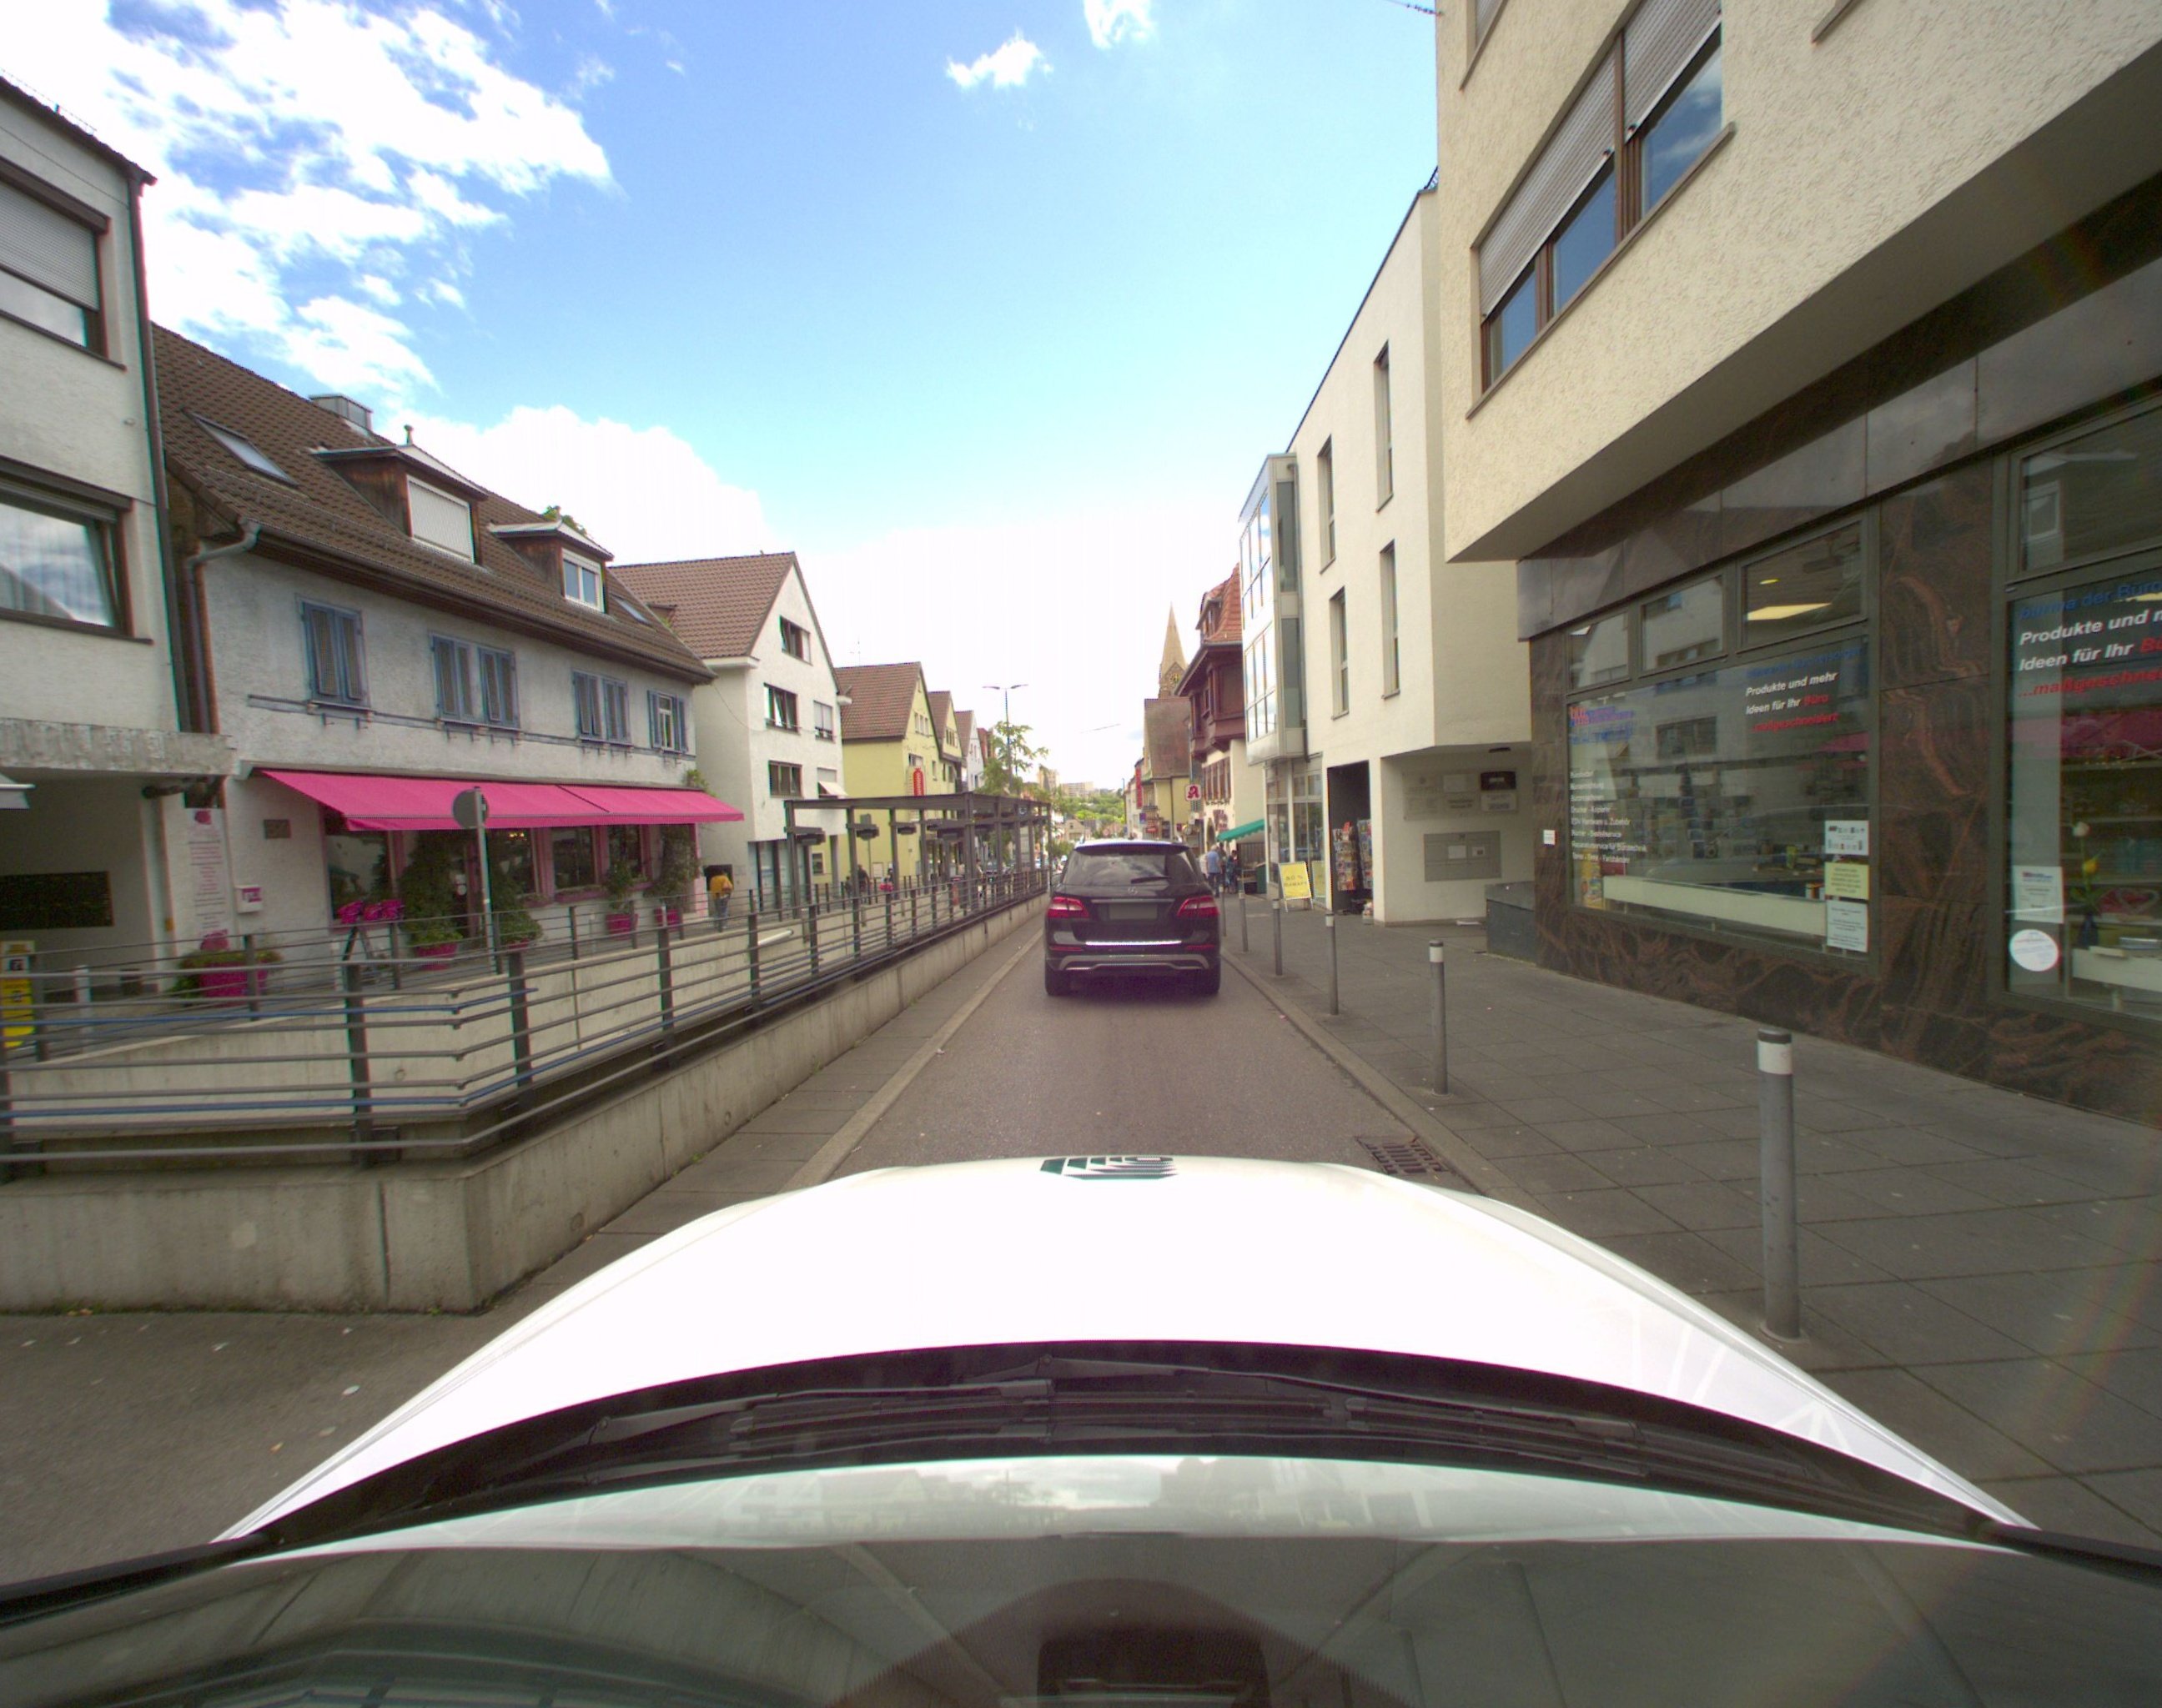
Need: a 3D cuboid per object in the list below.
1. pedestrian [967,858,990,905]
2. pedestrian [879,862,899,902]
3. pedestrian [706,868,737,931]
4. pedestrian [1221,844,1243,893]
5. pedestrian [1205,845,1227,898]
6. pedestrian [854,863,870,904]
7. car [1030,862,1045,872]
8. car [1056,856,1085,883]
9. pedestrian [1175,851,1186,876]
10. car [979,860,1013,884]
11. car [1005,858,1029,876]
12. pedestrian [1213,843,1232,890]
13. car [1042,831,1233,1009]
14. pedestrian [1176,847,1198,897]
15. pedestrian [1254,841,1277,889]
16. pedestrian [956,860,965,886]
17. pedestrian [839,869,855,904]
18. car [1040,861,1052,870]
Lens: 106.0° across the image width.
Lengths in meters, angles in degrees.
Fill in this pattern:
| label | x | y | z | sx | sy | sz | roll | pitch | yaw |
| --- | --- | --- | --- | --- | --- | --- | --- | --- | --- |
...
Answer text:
| label | x | y | z | sx | sy | sz | roll | pitch | yaw |
| --- | --- | --- | --- | --- | --- | --- | --- | --- | --- |
| pedestrian | -3.801 | 1.007 | 30.115 | 0.767 | 1.689 | 0.724 | 0 | 0 | -14 |
| pedestrian | -8.068 | 1.171 | 34.252 | 0.623 | 1.689 | 0.679 | -1 | 0 | 1 |
| pedestrian | -9.790 | 1.231 | 22.175 | 0.576 | 1.689 | 0.577 | -1 | 0 | 1 |
| pedestrian | 5.329 | 0.493 | 28.738 | 0.572 | 1.689 | 0.565 | -3 | 0 | -5 |
| pedestrian | 4.537 | 0.581 | 27.367 | 0.541 | 1.726 | 0.527 | -3 | 0 | -5 |
| pedestrian | -9.281 | 1.229 | 34.463 | 0.612 | 1.689 | 0.560 | 0 | 0 | -13 |
| car | -4.991 | 1.452 | 94.190 | 1.383 | 1.070 | 3.114 | -3 | 0 | 2 |
| car | -0.684 | 1.006 | 54.224 | 1.764 | 1.713 | 4.001 | -1 | 0 | 1 |
| pedestrian | 6.995 | 0.655 | 57.049 | 0.604 | 1.688 | 0.724 | -3 | 0 | 1 |
| car | -5.608 | 1.163 | 54.289 | 1.683 | 1.490 | 3.981 | -1 | 0 | 2 |
| car | -5.608 | 1.128 | 71.340 | 1.654 | 1.490 | 3.749 | -1 | 0 | 2 |
| pedestrian | 5.155 | 0.468 | 29.675 | 0.572 | 1.689 | 0.565 | 0 | 0 | -5 |
| car | 0.573 | 0.660 | 10.114 | 1.894 | 1.747 | 3.999 | -1 | 0 | 0 |
| pedestrian | 3.640 | 0.607 | 27.921 | 0.620 | 1.689 | 0.565 | 0 | 0 | -5 |
| pedestrian | 6.538 | 0.389 | 28.906 | 0.572 | 1.689 | 0.565 | -3 | 0 | -5 |
| pedestrian | -7.826 | 1.249 | 52.873 | 0.511 | 1.689 | 0.542 | -1 | 0 | 1 |
| pedestrian | -9.690 | 1.358 | 33.694 | 0.454 | 1.421 | 0.534 | -1 | 0 | 4 |
| car | -4.772 | 1.534 | 111.391 | 1.383 | 1.070 | 3.114 | -3 | 0 | 2 |
